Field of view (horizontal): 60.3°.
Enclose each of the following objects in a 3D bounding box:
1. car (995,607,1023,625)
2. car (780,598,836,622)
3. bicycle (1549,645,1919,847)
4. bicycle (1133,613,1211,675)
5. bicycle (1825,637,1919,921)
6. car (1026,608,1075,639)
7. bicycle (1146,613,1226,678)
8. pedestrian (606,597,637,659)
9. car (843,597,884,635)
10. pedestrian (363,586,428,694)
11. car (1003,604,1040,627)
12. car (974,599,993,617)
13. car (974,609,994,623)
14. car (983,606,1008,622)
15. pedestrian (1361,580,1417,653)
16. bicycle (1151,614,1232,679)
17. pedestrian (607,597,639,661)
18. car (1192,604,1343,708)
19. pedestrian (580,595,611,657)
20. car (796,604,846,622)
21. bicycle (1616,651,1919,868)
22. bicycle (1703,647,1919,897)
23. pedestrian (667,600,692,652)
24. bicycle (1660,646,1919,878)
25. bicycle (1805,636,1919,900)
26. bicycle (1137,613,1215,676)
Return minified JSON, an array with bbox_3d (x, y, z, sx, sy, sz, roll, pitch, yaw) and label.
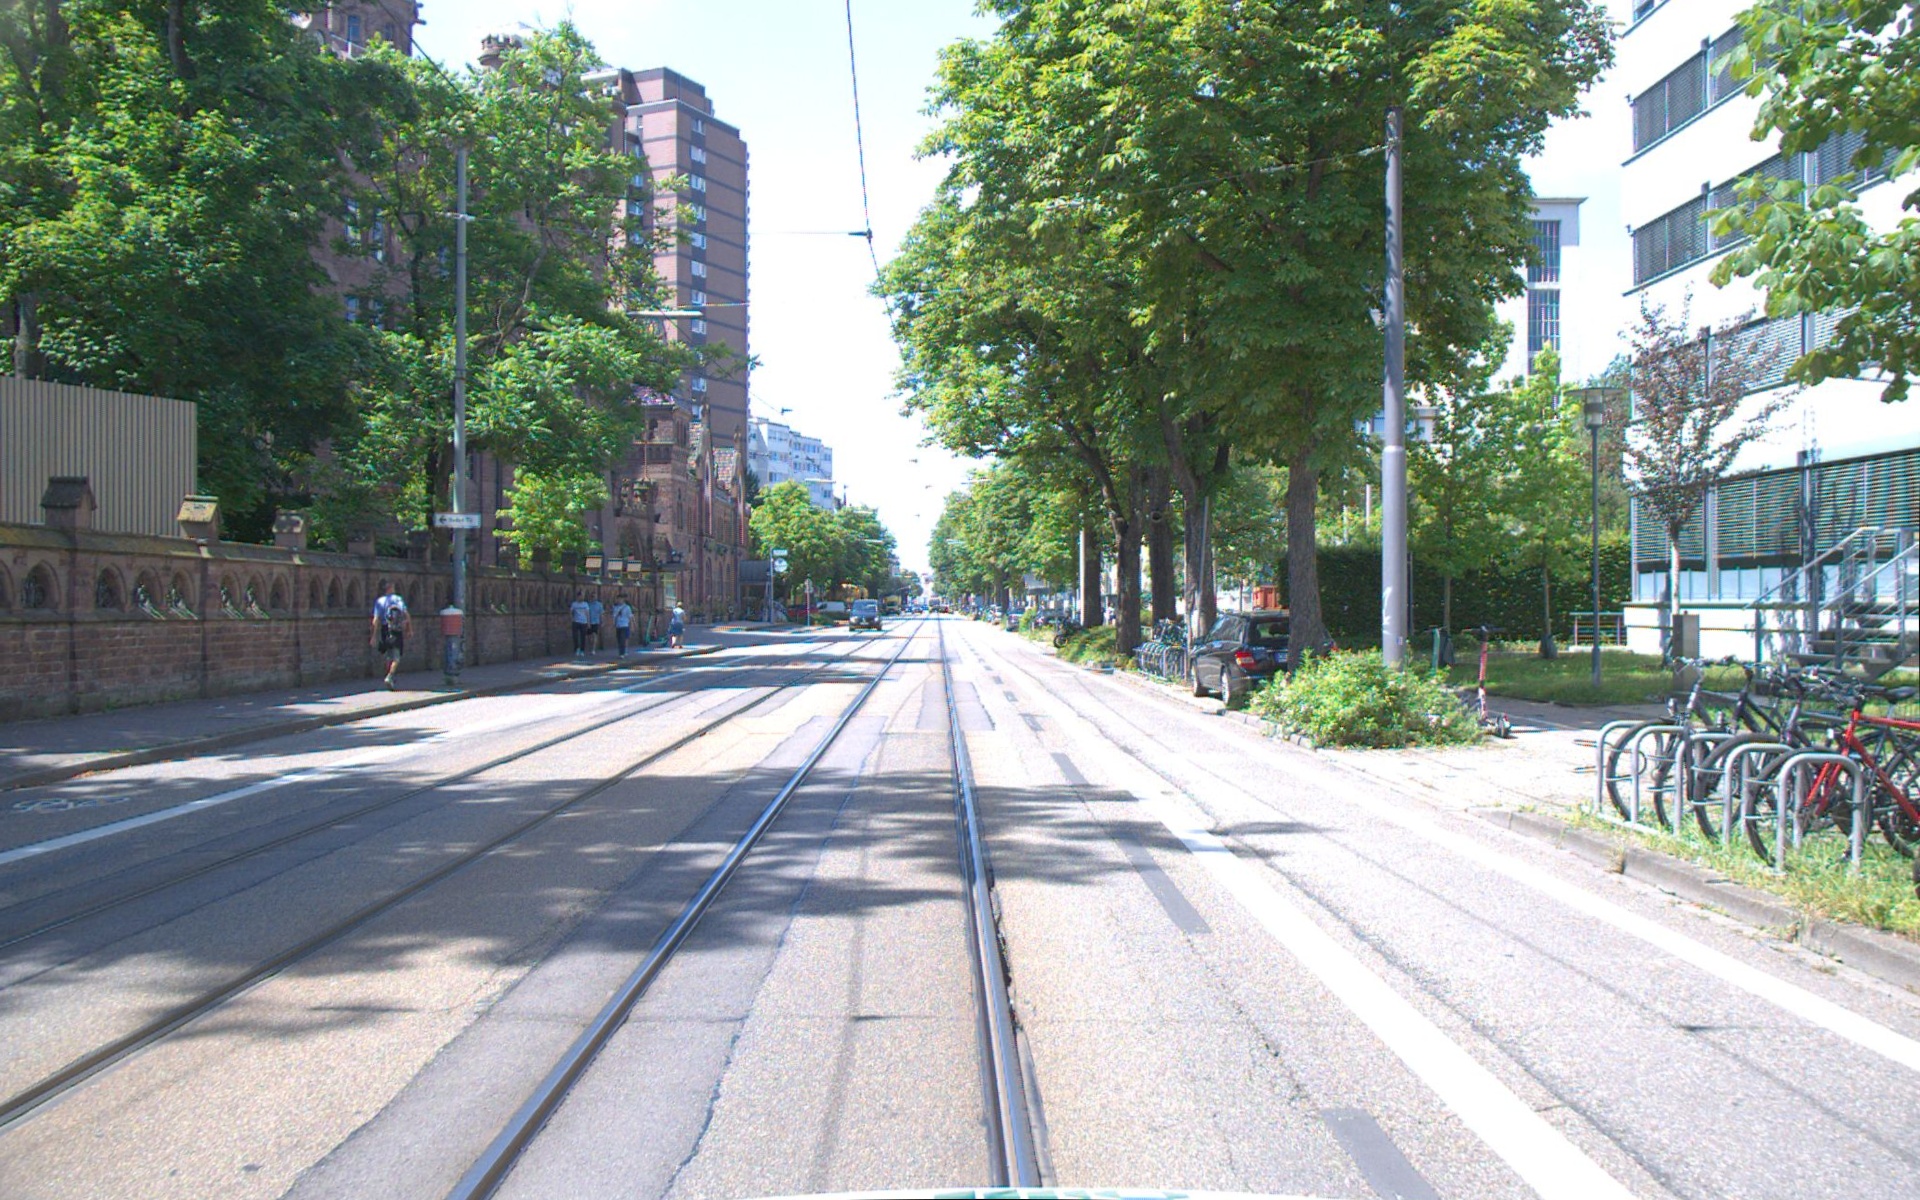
[{"bbox_3d":[3.749,1.224,127.862,1.953,1.333,3.999,0,0,-1],"label":"car"},{"bbox_3d":[-12.200,0.788,132.659,3.950,1.835,1.977,2,0,-33],"label":"car"},{"bbox_3d":[5.170,0.922,10.676,2.458,1.231,0.742,-1,0,3],"label":"bicycle"},{"bbox_3d":[4.359,0.899,34.033,1.532,1.263,0.437,-1,0,0],"label":"bicycle"},{"bbox_3d":[4.800,0.761,7.301,1.717,1.186,0.530,0,-1,-4],"label":"bicycle"},{"bbox_3d":[4.117,1.051,75.800,1.953,1.333,3.999,0,0,-1],"label":"car"},{"bbox_3d":[4.494,0.900,32.923,1.532,1.263,0.437,-1,0,0],"label":"bicycle"},{"bbox_3d":[-9.752,0.798,47.655,0.728,1.758,0.867,0,-1,-1],"label":"pedestrian"},{"bbox_3d":[-5.428,0.893,93.538,1.952,2.049,4.001,-1,0,1],"label":"car"},{"bbox_3d":[-9.537,0.667,27.977,0.798,1.801,0.924,0,-1,-1],"label":"pedestrian"},{"bbox_3d":[3.574,0.893,97.293,1.953,1.333,3.999,0,0,-1],"label":"car"},{"bbox_3d":[2.599,0.899,181.304,1.953,1.937,3.999,0,0,-1],"label":"car"},{"bbox_3d":[2.463,1.663,171.647,1.953,1.333,3.999,0,0,-1],"label":"car"},{"bbox_3d":[2.975,1.159,140.855,1.953,1.333,3.999,0,0,-1],"label":"car"},{"bbox_3d":[11.058,0.425,42.656,1.191,1.859,0.830,0,-1,-5],"label":"pedestrian"},{"bbox_3d":[4.531,0.906,32.420,1.532,1.263,0.437,-1,0,0],"label":"bicycle"},{"bbox_3d":[-9.413,0.808,46.242,0.728,1.758,0.867,0,-1,-1],"label":"pedestrian"},{"bbox_3d":[4.844,0.832,26.527,1.601,1.527,3.999,0,0,-1],"label":"car"},{"bbox_3d":[-10.501,0.749,47.678,0.728,1.758,0.867,0,-1,-1],"label":"pedestrian"},{"bbox_3d":[-13.940,1.293,165.766,4.676,1.747,1.981,0,0,-29],"label":"car"},{"bbox_3d":[5.280,0.933,9.874,2.458,1.231,0.622,-1,0,3],"label":"bicycle"},{"bbox_3d":[5.241,0.867,8.569,2.458,1.231,0.648,-1,0,3],"label":"bicycle"},{"bbox_3d":[-9.651,0.895,56.842,0.728,1.758,0.867,0,-1,-2],"label":"pedestrian"},{"bbox_3d":[5.038,0.884,9.245,1.955,1.231,0.662,-1,0,3],"label":"bicycle"},{"bbox_3d":[4.969,0.767,7.806,1.717,1.186,0.530,0,-1,-4],"label":"bicycle"},{"bbox_3d":[4.370,0.899,33.504,1.532,1.263,0.437,-1,0,0],"label":"bicycle"}]
